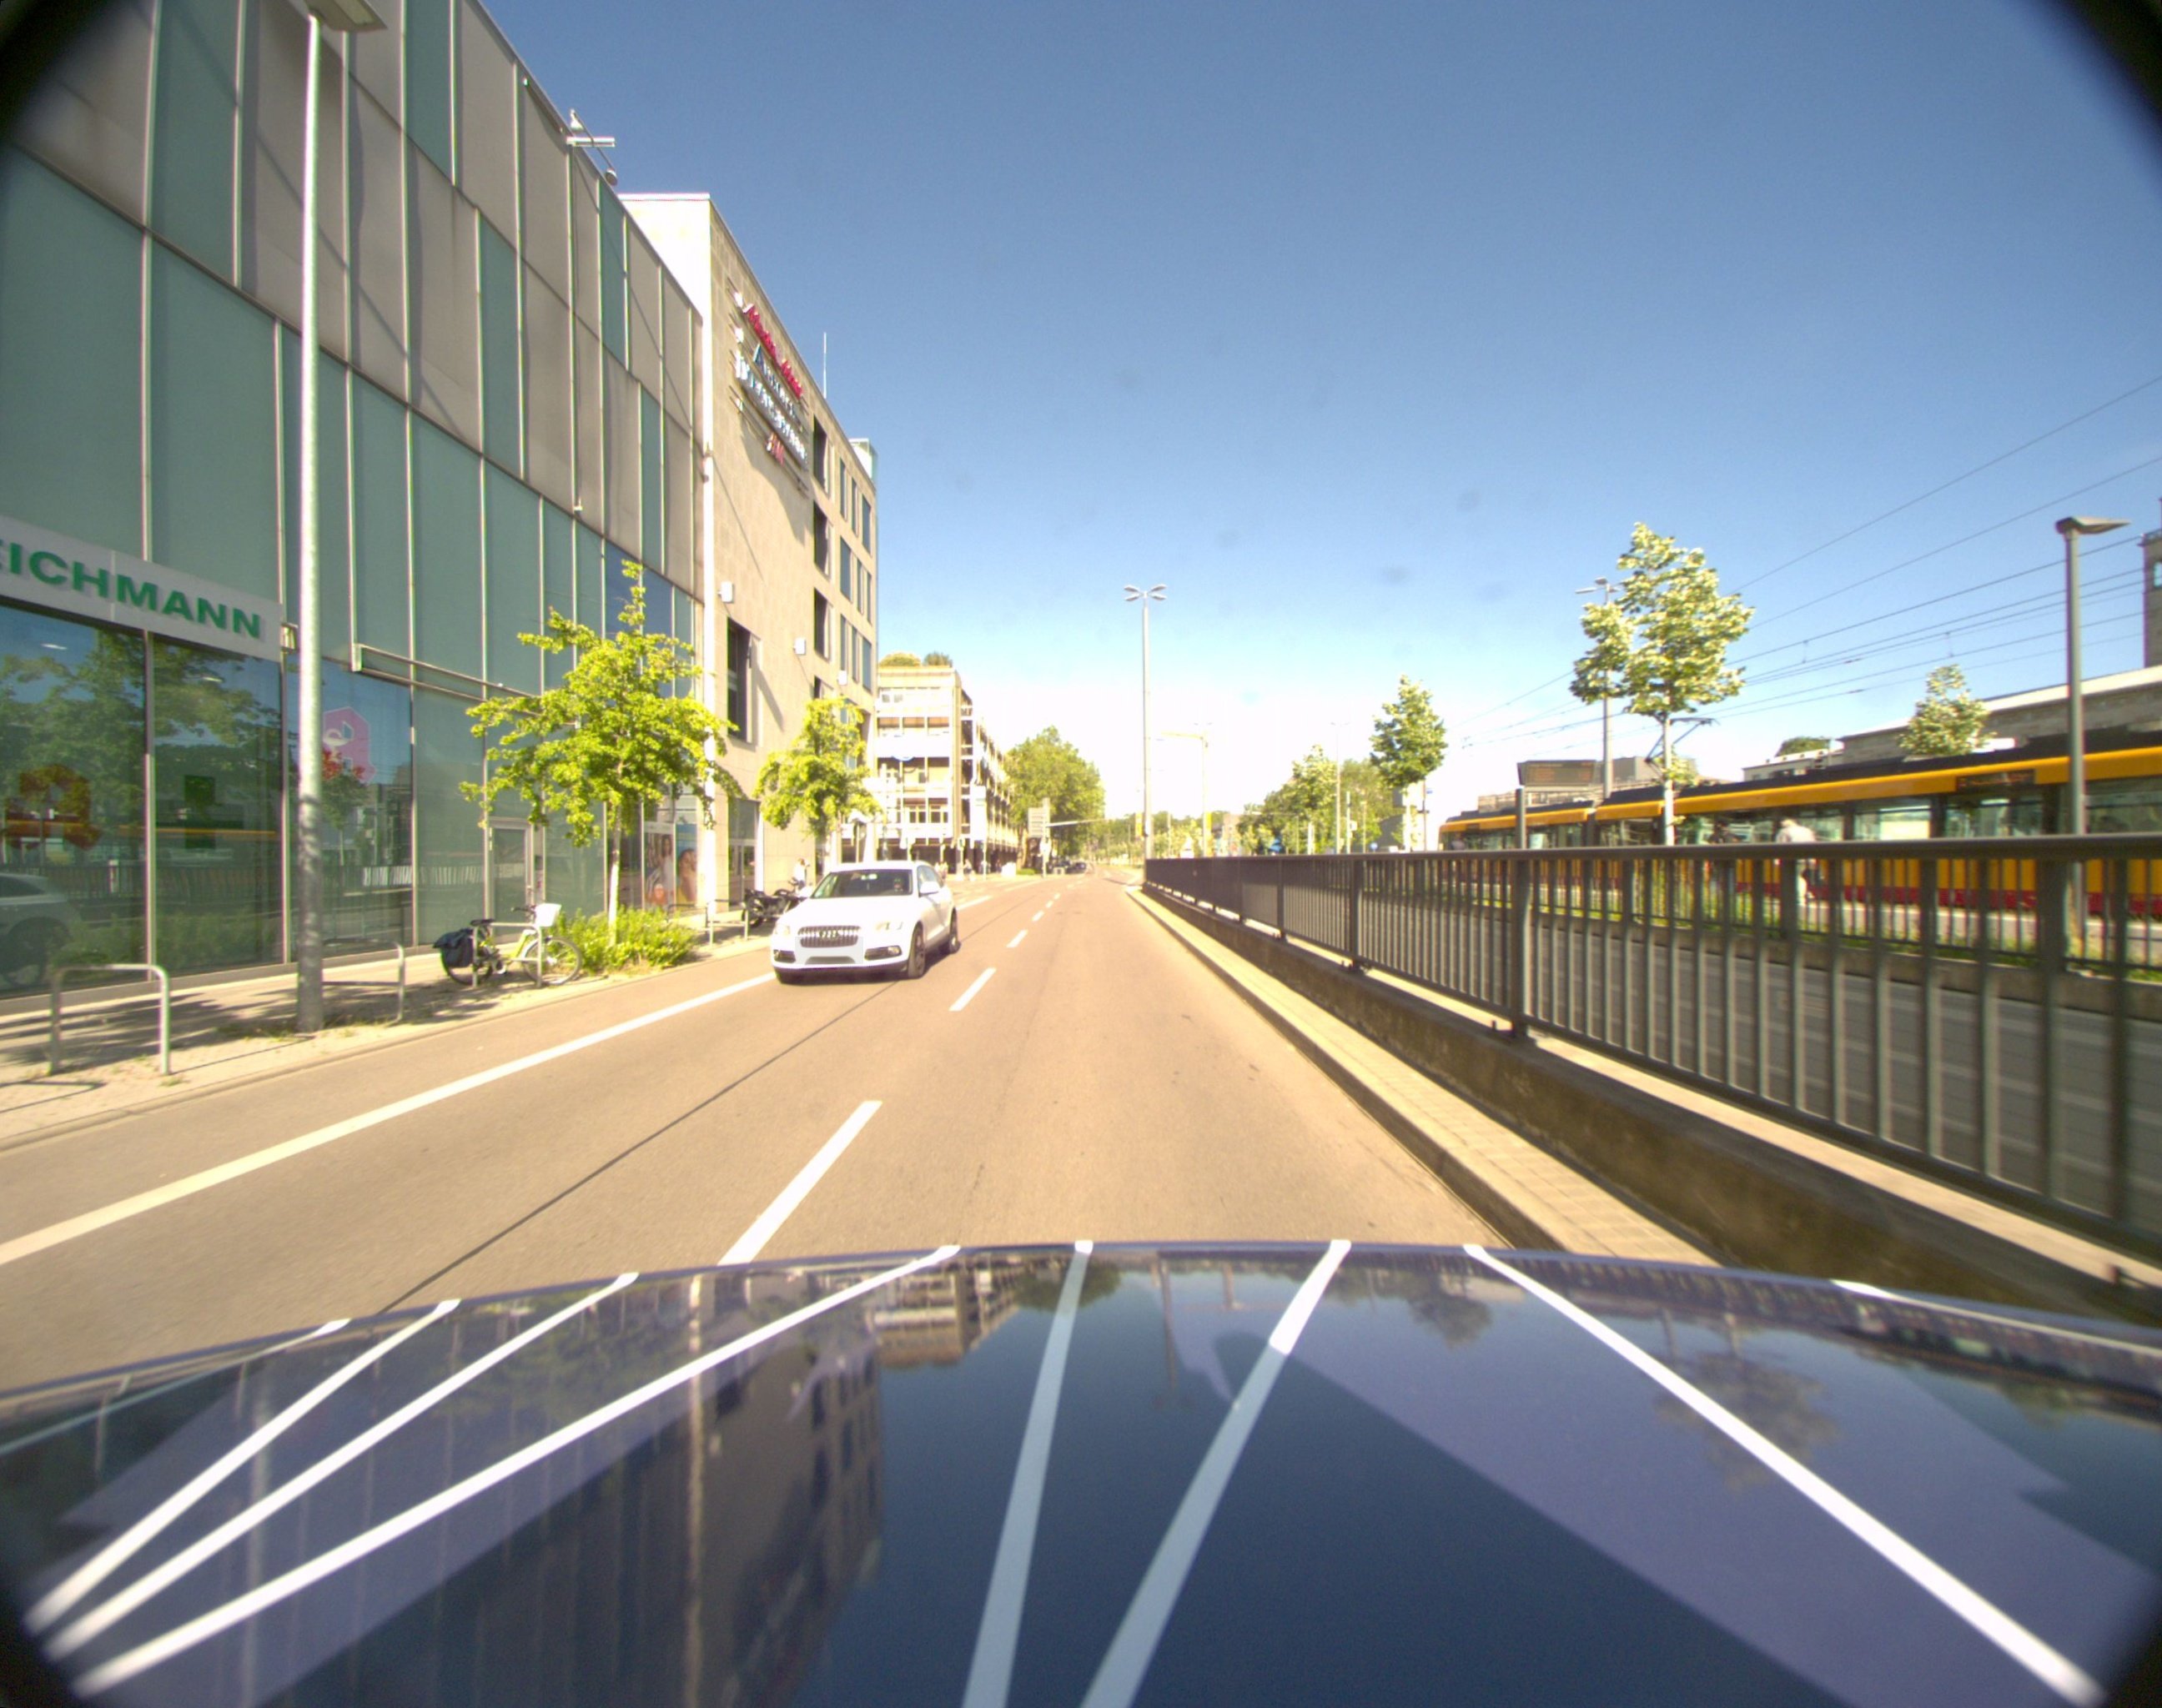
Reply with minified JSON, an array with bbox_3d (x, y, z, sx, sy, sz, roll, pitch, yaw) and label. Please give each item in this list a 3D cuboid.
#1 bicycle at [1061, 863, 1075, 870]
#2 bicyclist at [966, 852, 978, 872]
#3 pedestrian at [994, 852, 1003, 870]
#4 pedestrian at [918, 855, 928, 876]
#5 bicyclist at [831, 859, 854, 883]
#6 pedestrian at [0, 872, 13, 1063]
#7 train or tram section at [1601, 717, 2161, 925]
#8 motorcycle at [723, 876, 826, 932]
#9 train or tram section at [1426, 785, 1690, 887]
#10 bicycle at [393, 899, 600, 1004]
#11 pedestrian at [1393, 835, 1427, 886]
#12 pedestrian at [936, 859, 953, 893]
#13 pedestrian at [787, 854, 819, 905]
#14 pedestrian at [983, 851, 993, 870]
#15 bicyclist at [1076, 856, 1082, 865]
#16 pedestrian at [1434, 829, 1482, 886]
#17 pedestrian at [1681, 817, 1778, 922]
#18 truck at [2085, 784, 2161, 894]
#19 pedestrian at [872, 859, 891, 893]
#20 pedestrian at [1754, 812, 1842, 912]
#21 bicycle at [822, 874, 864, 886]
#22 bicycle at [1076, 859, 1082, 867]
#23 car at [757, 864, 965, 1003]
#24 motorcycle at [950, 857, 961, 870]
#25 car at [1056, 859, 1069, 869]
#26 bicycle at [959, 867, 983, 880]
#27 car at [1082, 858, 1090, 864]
[{"bbox_3d":[-1.807,1.678,103.842,1.848,0.954,0.711,1,0,-3],"label":"bicycle"},{"bbox_3d":[-9.417,0.713,65.528,0.852,1.677,0.711,-3,0,-13],"label":"bicyclist"},{"bbox_3d":[-9.578,0.789,88.027,0.949,2.002,1.079,-1,0,-6],"label":"pedestrian"},{"bbox_3d":[-12.106,0.878,58.274,0.662,1.603,0.526,1,0,-8],"label":"pedestrian"},{"bbox_3d":[-14.686,1.040,46.767,1.024,1.467,1.072,0,0,5],"label":"bicyclist"},{"bbox_3d":[-9.702,0.963,6.136,0.823,1.648,0.900,2,0,-3],"label":"pedestrian"},{"bbox_3d":[18.681,-0.596,17.279,2.855,3.302,15.966,-3,0,1],"label":"train or tram section"},{"bbox_3d":[-7.566,1.216,18.829,2.193,1.316,0.903,0,0,5],"label":"motorcycle"},{"bbox_3d":[18.860,-0.577,31.838,2.877,3.290,13.073,-2,0,1],"label":"train or tram section"},{"bbox_3d":[-7.612,1.237,9.956,2.089,1.198,0.951,1,1,7],"label":"bicycle"},{"bbox_3d":[11.824,0.237,27.334,0.705,1.764,0.959,-2,0,-2],"label":"pedestrian"},{"bbox_3d":[-6.810,1.090,37.905,0.658,1.692,0.698,2,0,-1],"label":"pedestrian"},{"bbox_3d":[-10.031,0.912,27.464,0.729,1.791,1.066,1,0,1],"label":"pedestrian"},{"bbox_3d":[-9.606,0.654,78.622,0.950,2.002,1.078,0,0,-10],"label":"pedestrian"},{"bbox_3d":[-0.290,1.049,118.290,0.830,1.380,0.904,-1,0,2],"label":"bicyclist"},{"bbox_3d":[12.249,0.118,24.730,0.876,1.764,1.189,-2,0,-2],"label":"pedestrian"},{"bbox_3d":[11.472,0.269,13.477,0.793,1.764,0.979,-2,0,-2],"label":"pedestrian"},{"bbox_3d":[30.314,-0.470,17.928,2.725,2.952,7.953,-3,0,1],"label":"truck"},{"bbox_3d":[-9.612,1.060,36.630,0.725,1.598,0.750,0,-1,2],"label":"pedestrian"},{"bbox_3d":[13.189,0.151,14.004,0.763,1.764,0.826,-2,0,-2],"label":"pedestrian"},{"bbox_3d":[-14.650,1.585,46.781,2.197,0.667,1.072,0,0,5],"label":"bicycle"},{"bbox_3d":[-0.294,1.412,118.288,0.845,1.123,2.553,-1,0,2],"label":"bicycle"},{"bbox_3d":[-3.070,1.021,11.634,1.824,1.604,4.412,-2,0,0],"label":"car"},{"bbox_3d":[-14.229,1.034,85.917,0.825,1.433,2.122,-1,0,2],"label":"motorcycle"},{"bbox_3d":[-2.713,1.499,112.040,1.752,1.481,4.560,1,0,1],"label":"car"},{"bbox_3d":[-9.477,1.671,65.504,1.924,0.987,0.711,-3,0,-12],"label":"bicycle"},{"bbox_3d":[1.270,1.786,198.882,1.999,1.597,3.896,-1,0,0],"label":"car"}]
